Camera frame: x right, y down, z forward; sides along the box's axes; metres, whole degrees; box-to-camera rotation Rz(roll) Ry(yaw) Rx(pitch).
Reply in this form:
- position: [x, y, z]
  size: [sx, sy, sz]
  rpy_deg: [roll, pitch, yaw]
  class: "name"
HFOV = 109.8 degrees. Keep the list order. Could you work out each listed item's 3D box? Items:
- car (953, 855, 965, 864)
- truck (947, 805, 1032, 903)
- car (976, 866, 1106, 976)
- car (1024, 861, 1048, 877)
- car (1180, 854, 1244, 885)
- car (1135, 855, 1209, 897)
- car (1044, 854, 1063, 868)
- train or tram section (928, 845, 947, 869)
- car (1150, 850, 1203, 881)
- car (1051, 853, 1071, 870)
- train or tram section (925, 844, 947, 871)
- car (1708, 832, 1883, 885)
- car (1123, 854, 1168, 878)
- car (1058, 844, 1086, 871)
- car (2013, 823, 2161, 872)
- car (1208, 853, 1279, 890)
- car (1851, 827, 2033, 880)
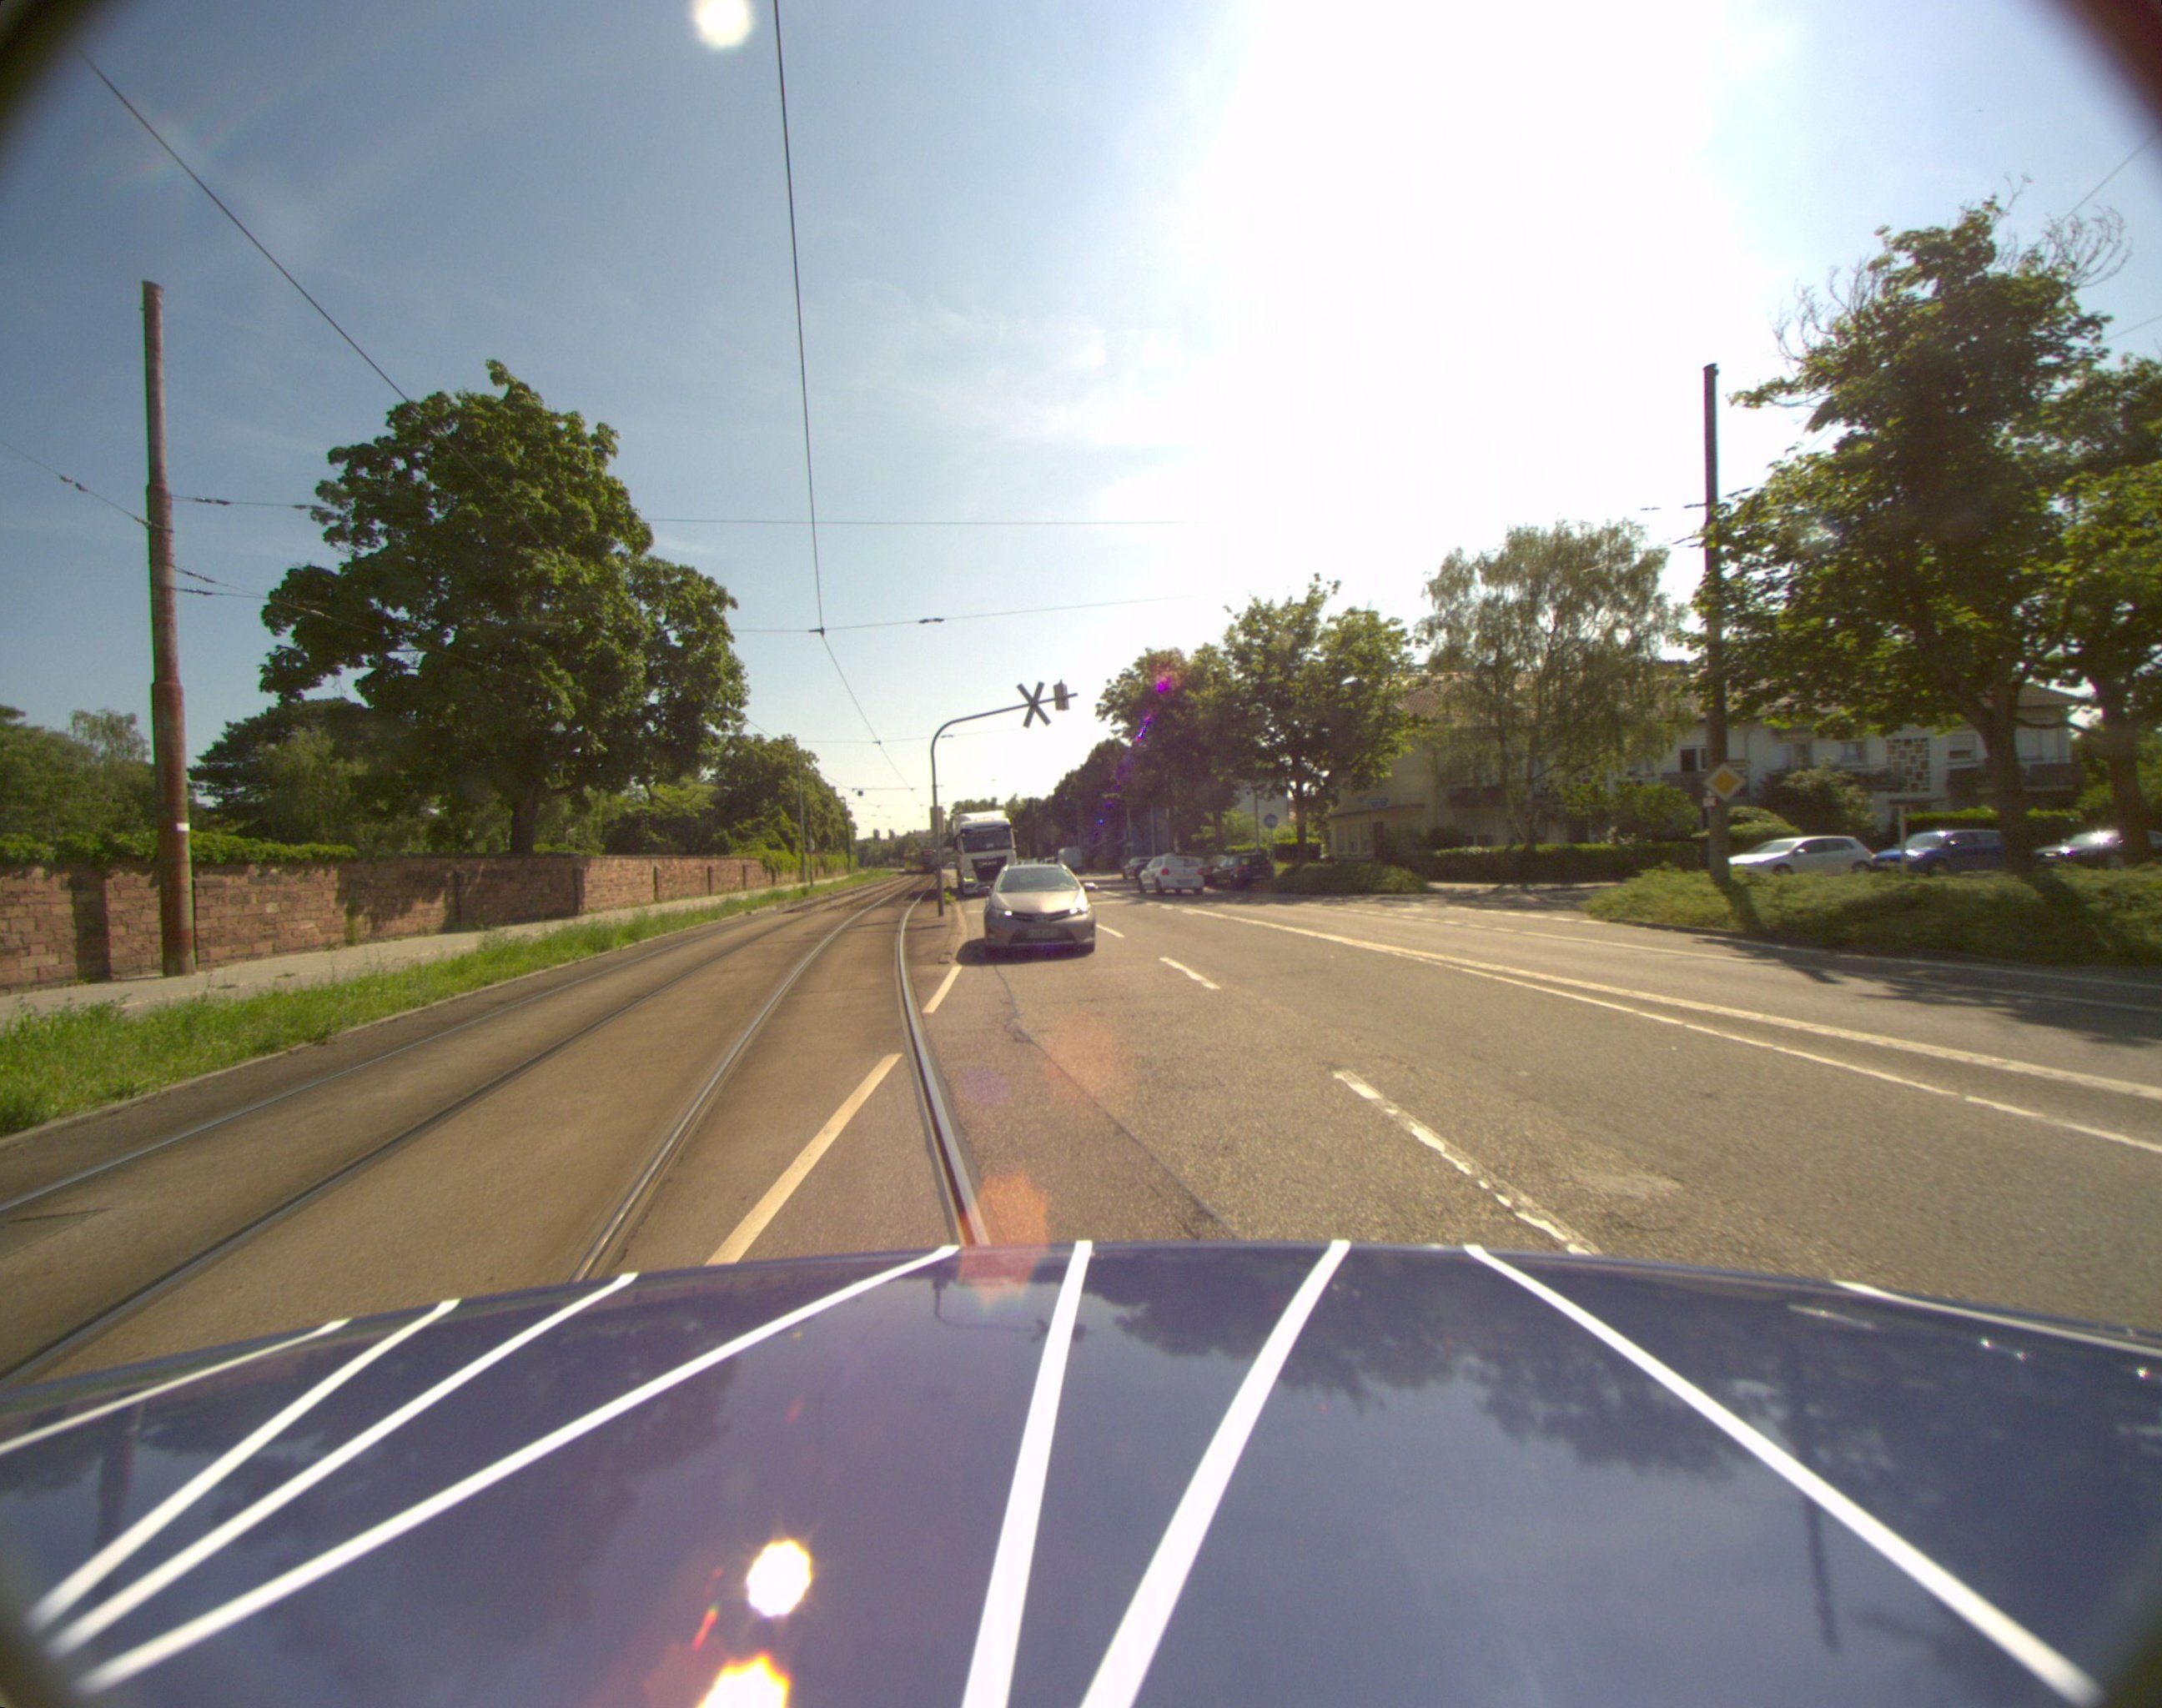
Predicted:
- position: [-27.824, 1.242, 172.764]
  size: [2.001, 2.002, 3.994]
  rpy_deg: [-2, 0, -18]
  class: "car"
- position: [-5.168, -0.039, 40.312]
  size: [3.394, 4.046, 14.273]
  rpy_deg: [-5, 1, -10]
  class: "truck"
- position: [-0.849, 1.012, 13.150]
  size: [1.721, 1.439, 4.027]
  rpy_deg: [-4, 0, -10]
  class: "car"
- position: [-4.187, 1.397, 70.807]
  size: [1.791, 1.401, 4.301]
  rpy_deg: [-1, 0, -9]
  class: "car"
- position: [6.396, 0.713, 37.650]
  size: [1.702, 1.387, 4.577]
  rpy_deg: [-2, 0, -9]
  class: "car"
- position: [3.347, 0.772, 28.710]
  size: [1.733, 1.456, 3.997]
  rpy_deg: [-1, 0, -9]
  class: "car"
- position: [-3.427, 0.849, 94.090]
  size: [1.680, 1.659, 4.144]
  rpy_deg: [-2, 0, -9]
  class: "car"
- position: [-24.840, 0.519, 132.548]
  size: [2.681, 3.631, 18.940]
  rpy_deg: [-5, 1, -10]
  class: "train or tram section"
- position: [5.343, 0.596, 43.176]
  size: [1.680, 1.603, 4.238]
  rpy_deg: [-2, 1, -11]
  class: "car"
- position: [-2.369, 0.853, 88.550]
  size: [1.680, 1.925, 4.454]
  rpy_deg: [-2, 0, -9]
  class: "car"
- position: [-21.968, 0.532, 115.752]
  size: [2.678, 3.631, 15.292]
  rpy_deg: [-5, 1, -9]
  class: "train or tram section"
- position: [22.826, 0.131, 24.363]
  size: [3.998, 1.516, 1.807]
  rpy_deg: [-2, 1, -3]
  class: "car"
- position: [4.164, 0.789, 49.814]
  size: [1.680, 1.427, 4.453]
  rpy_deg: [-2, 0, -11]
  class: "car"
- position: [-0.974, 0.344, 80.348]
  size: [2.018, 2.636, 6.081]
  rpy_deg: [-2, 0, -9]
  class: "car"
- position: [33.185, -0.225, 24.614]
  size: [3.998, 1.448, 1.764]
  rpy_deg: [-2, 1, -3]
  class: "car"
- position: [6.937, 0.719, 32.807]
  size: [1.621, 1.442, 4.080]
  rpy_deg: [-2, 0, -8]
  class: "car"
- position: [27.821, -0.032, 24.623]
  size: [3.998, 1.516, 1.807]
  rpy_deg: [-2, 1, -3]
  class: "car"
